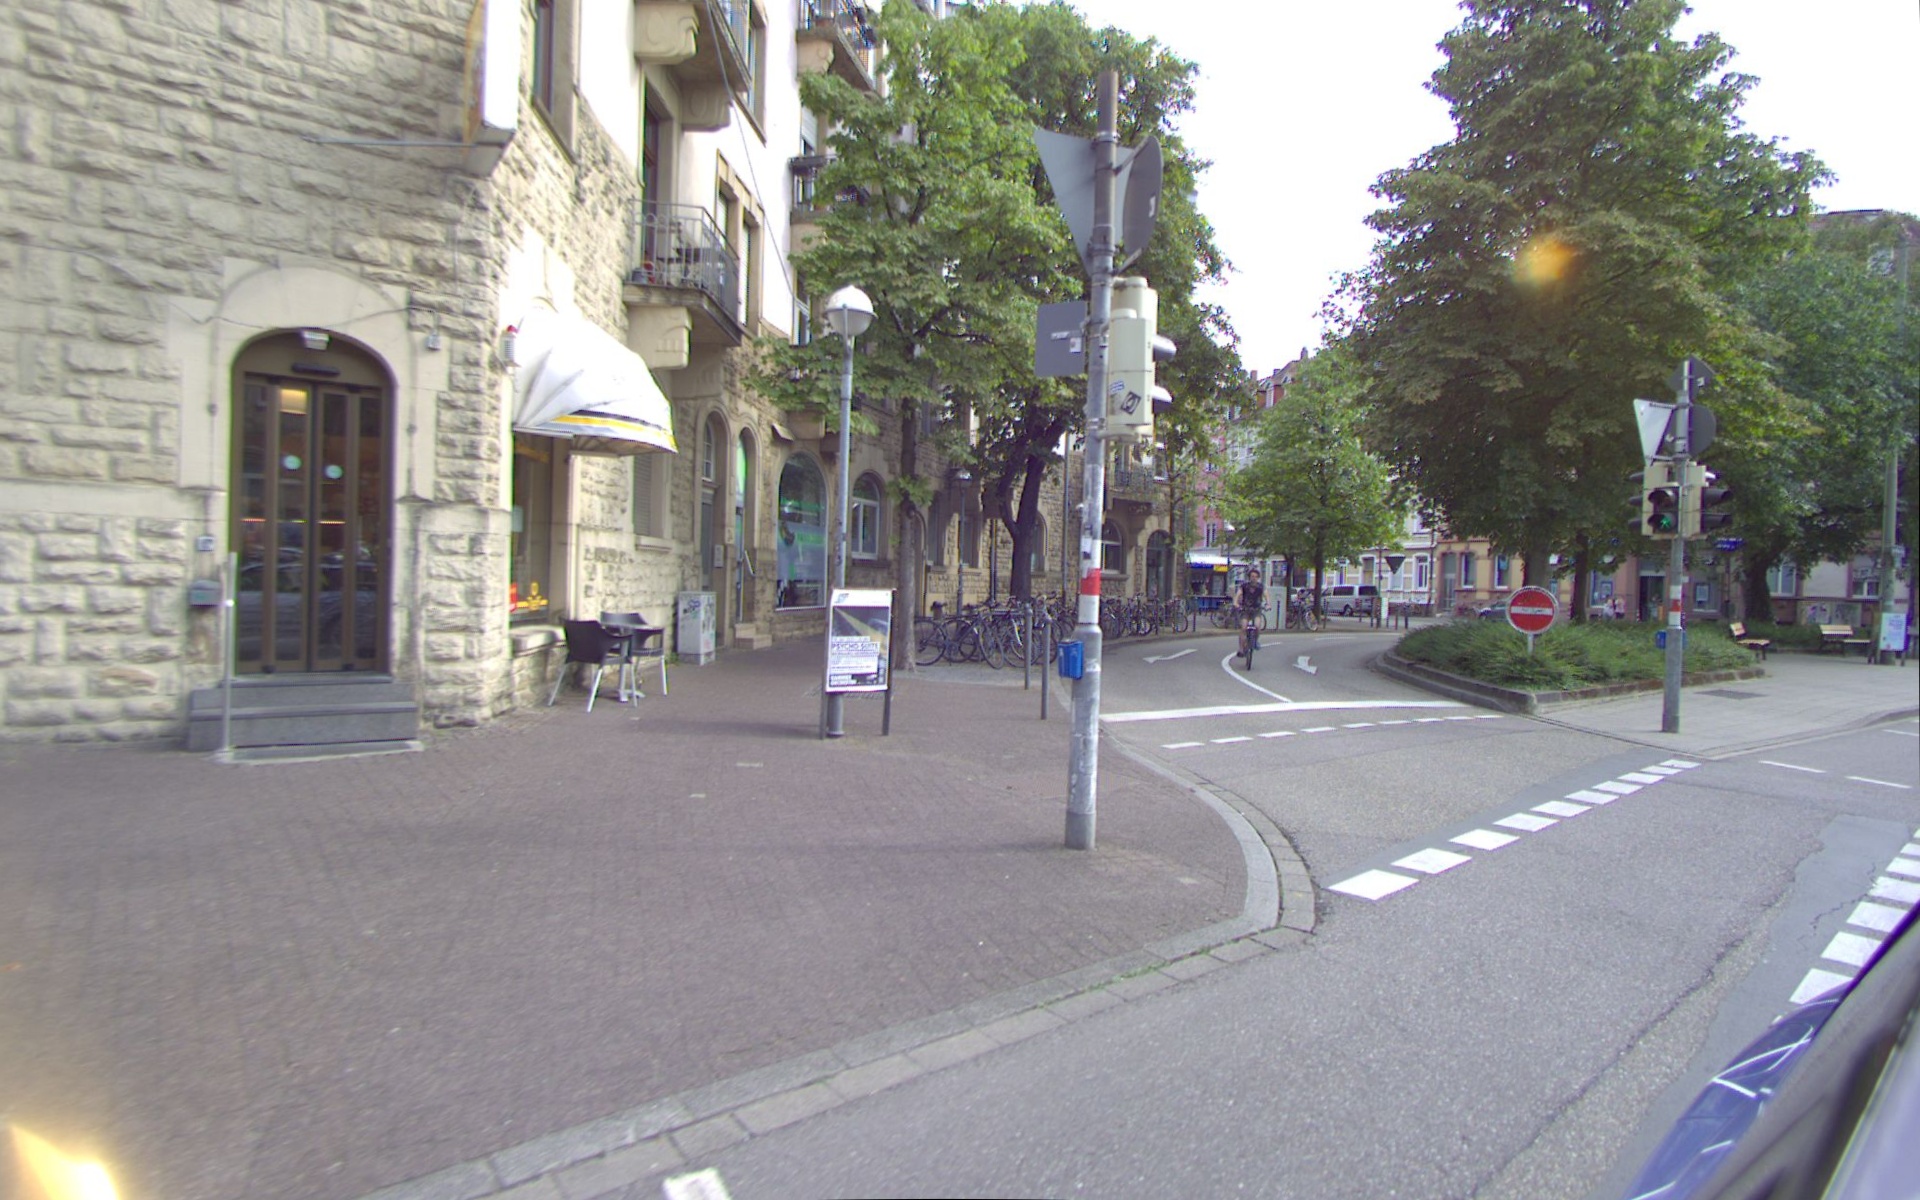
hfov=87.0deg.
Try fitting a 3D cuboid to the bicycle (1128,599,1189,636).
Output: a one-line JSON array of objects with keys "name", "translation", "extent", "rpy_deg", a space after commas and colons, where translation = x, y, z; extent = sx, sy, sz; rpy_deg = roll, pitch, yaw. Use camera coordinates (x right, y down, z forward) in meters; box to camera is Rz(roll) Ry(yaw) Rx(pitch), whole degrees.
[{"name": "bicycle", "translation": [6.165, 0.531, 31.441], "extent": [1.776, 1.051, 0.478], "rpy_deg": [2, 0, 27]}]

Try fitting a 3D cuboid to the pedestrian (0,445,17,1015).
[{"name": "pedestrian", "translation": [-3.027, 0.398, 2.650], "extent": [0.746, 1.680, 0.721], "rpy_deg": [1, 5, -39]}]

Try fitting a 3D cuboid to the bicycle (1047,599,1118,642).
[{"name": "bicycle", "translation": [3.208, 0.527, 26.540], "extent": [1.776, 1.051, 0.478], "rpy_deg": [2, 0, 27]}]

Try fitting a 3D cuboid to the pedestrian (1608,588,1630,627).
[{"name": "pedestrian", "translation": [29.669, 0.321, 45.562], "extent": [0.629, 1.715, 0.612], "rpy_deg": [1, 1, -40]}]

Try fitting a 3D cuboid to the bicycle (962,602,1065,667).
[{"name": "bicycle", "translation": [0.937, 0.595, 17.889], "extent": [1.760, 1.051, 0.482], "rpy_deg": [3, 0, 2]}]

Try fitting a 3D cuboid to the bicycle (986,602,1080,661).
[{"name": "bicycle", "translation": [1.393, 0.599, 19.502], "extent": [1.760, 1.051, 0.482], "rpy_deg": [3, 0, 2]}]

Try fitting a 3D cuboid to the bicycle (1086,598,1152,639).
[{"name": "bicycle", "translation": [4.538, 0.522, 28.965], "extent": [1.776, 1.051, 0.478], "rpy_deg": [2, 0, 27]}]

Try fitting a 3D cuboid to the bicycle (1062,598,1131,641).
[{"name": "bicycle", "translation": [3.693, 0.521, 27.404], "extent": [1.776, 1.051, 0.478], "rpy_deg": [2, 0, 27]}]

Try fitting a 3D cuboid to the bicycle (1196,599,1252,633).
[{"name": "bicycle", "translation": [8.973, 0.535, 34.418], "extent": [1.787, 1.051, 0.475], "rpy_deg": [2, 0, 43]}]

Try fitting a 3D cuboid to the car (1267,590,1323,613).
[{"name": "car", "translation": [22.936, 0.102, 69.414], "extent": [1.702, 1.491, 3.967], "rpy_deg": [1, 0, -16]}]

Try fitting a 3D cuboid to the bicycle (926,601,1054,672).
[{"name": "bicycle", "translation": [0.476, 0.587, 16.522], "extent": [2.008, 1.051, 0.483], "rpy_deg": [3, 0, -5]}]

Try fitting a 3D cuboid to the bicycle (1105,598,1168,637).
[{"name": "bicycle", "translation": [5.285, 0.519, 30.291], "extent": [1.776, 1.051, 0.478], "rpy_deg": [2, 0, 27]}]

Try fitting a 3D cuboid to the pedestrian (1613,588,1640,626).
[{"name": "pedestrian", "translation": [30.393, 0.310, 46.168], "extent": [0.764, 1.715, 0.790], "rpy_deg": [1, 1, -38]}]

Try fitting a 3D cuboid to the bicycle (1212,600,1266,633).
[{"name": "bicycle", "translation": [9.835, 0.575, 35.704], "extent": [1.787, 1.051, 0.475], "rpy_deg": [2, 0, 43]}]

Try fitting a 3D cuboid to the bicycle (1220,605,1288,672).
[{"name": "bicycle", "translation": [5.366, 0.654, 18.657], "extent": [0.872, 1.058, 3.087], "rpy_deg": [2, 1, 10]}]

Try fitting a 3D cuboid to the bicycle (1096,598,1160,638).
[{"name": "bicycle", "translation": [4.913, 0.521, 29.656], "extent": [1.776, 1.051, 0.478], "rpy_deg": [2, 0, 27]}]

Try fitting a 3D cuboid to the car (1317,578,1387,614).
[{"name": "car", "translation": [24.680, -0.241, 63.905], "extent": [1.702, 2.143, 4.555], "rpy_deg": [1, 0, -16]}]

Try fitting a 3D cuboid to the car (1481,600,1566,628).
[{"name": "car", "translation": [27.565, 0.644, 49.639], "extent": [1.703, 1.282, 3.596], "rpy_deg": [1, 0, -12]}]

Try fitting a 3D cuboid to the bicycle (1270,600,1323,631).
[{"name": "bicycle", "translation": [12.380, 0.570, 37.269], "extent": [1.787, 1.051, 0.475], "rpy_deg": [2, 0, 43]}]

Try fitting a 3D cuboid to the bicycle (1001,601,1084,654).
[{"name": "bicycle", "translation": [1.819, 0.594, 22.193], "extent": [1.763, 1.051, 0.481], "rpy_deg": [3, 0, 8]}]

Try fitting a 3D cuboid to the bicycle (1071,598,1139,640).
[{"name": "bicycle", "translation": [4.016, 0.517, 28.066], "extent": [1.776, 1.051, 0.478], "rpy_deg": [2, 0, 27]}]

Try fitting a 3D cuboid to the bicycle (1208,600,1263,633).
[{"name": "bicycle", "translation": [9.510, 0.559, 34.977], "extent": [1.787, 1.051, 0.475], "rpy_deg": [2, 0, 43]}]

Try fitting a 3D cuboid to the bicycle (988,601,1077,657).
[{"name": "bicycle", "translation": [1.492, 0.597, 20.830], "extent": [1.763, 1.051, 0.481], "rpy_deg": [3, 0, 8]}]

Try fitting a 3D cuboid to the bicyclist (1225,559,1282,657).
[{"name": "bicyclist", "translation": [5.383, 0.144, 18.613], "extent": [0.826, 1.711, 1.243], "rpy_deg": [2, 0, 11]}]

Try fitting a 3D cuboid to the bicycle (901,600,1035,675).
[{"name": "bicycle", "translation": [0.114, 0.578, 15.720], "extent": [2.008, 1.051, 0.483], "rpy_deg": [3, 0, -5]}]
